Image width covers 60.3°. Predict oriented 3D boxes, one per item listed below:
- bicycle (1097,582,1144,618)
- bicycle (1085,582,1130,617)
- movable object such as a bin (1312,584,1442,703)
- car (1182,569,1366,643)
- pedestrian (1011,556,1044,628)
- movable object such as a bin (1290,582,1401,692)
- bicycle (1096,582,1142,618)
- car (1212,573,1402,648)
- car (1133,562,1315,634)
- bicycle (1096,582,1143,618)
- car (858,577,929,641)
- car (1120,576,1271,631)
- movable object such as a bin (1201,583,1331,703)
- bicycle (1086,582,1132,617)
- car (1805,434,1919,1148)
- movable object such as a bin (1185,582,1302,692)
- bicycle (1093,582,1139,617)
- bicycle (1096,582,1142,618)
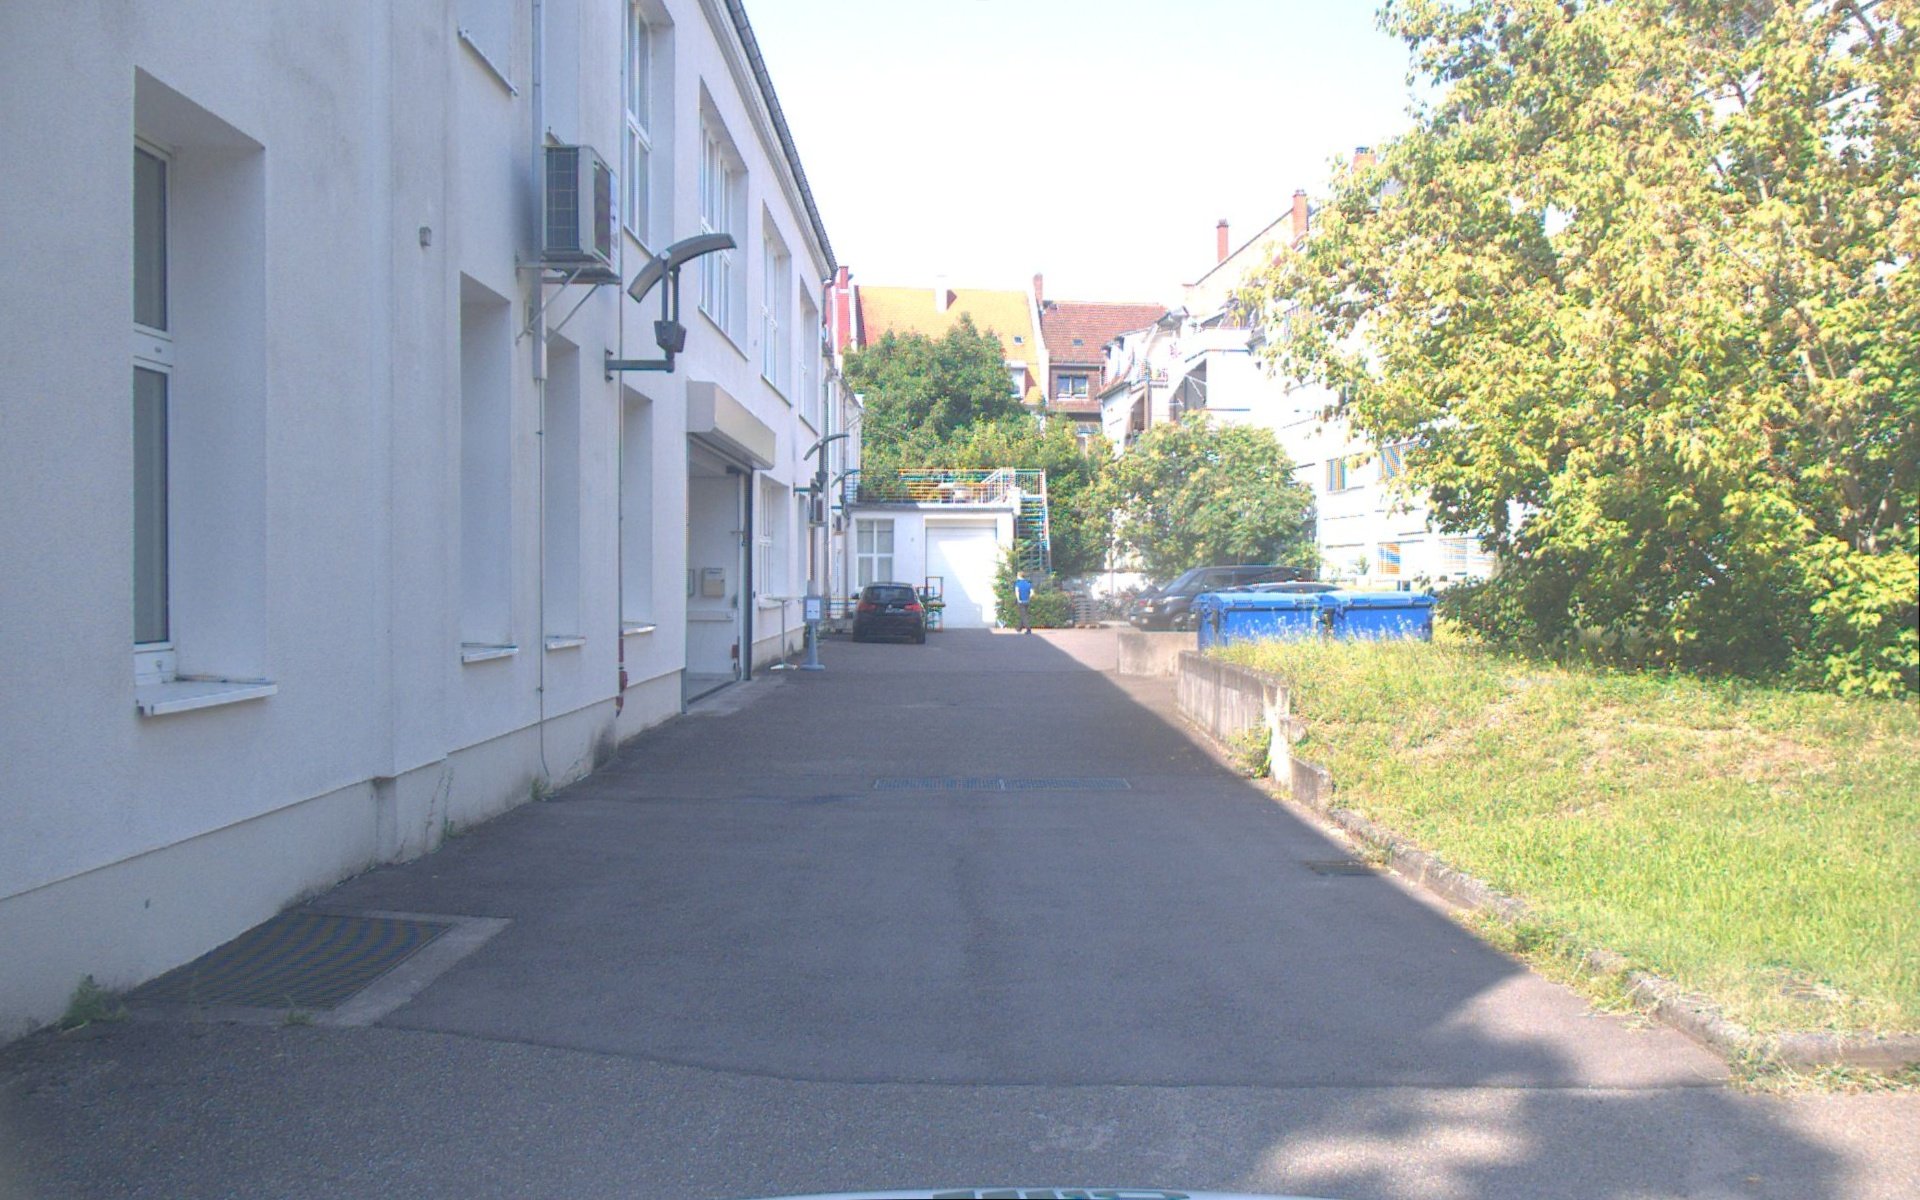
[{"bbox_3d":[5.612,-0.003,57.744,1.589,1.235,0.327,-1,0,1],"label":"bicycle"},{"bbox_3d":[5.426,-0.015,60.765,1.591,1.235,0.423,-1,0,-5],"label":"bicycle"},{"bbox_3d":[4.896,0.498,19.498,1.202,1.364,1.076,0,0,-5],"label":"movable object such as a bin"},{"bbox_3d":[7.488,0.136,39.656,4.035,1.721,1.770,0,0,-3],"label":"car"},{"bbox_3d":[1.915,-0.231,47.151,0.895,2.049,0.935,0,0,0],"label":"pedestrian"},{"bbox_3d":[4.922,0.456,21.216,1.209,1.364,1.117,0,0,3],"label":"movable object such as a bin"},{"bbox_3d":[5.583,-0.004,58.037,1.589,1.235,0.327,-1,0,1],"label":"bicycle"},{"bbox_3d":[7.686,0.229,36.838,3.787,1.616,1.877,0,0,-6],"label":"car"},{"bbox_3d":[6.965,-0.053,43.855,4.418,1.826,1.879,0,0,-10],"label":"car"},{"bbox_3d":[5.548,-0.002,57.422,1.589,1.235,0.327,-1,0,1],"label":"bicycle"},{"bbox_3d":[-1.615,0.198,40.653,1.654,1.484,3.921,0,0,-2],"label":"car"},{"bbox_3d":[6.629,0.097,46.738,3.860,1.508,1.771,0,0,-10],"label":"car"},{"bbox_3d":[3.592,0.490,19.495,1.283,1.364,1.099,0,0,-3],"label":"movable object such as a bin"},{"bbox_3d":[5.352,-0.011,59.528,1.590,1.235,0.424,-1,0,-1],"label":"bicycle"},{"bbox_3d":[5.051,0.557,4.101,4.854,1.954,2.044,1,0,1],"label":"car"},{"bbox_3d":[3.623,0.465,21.248,1.274,1.364,1.194,0,0,-1],"label":"movable object such as a bin"},{"bbox_3d":[5.539,-0.007,58.852,1.588,1.235,0.327,-1,0,13],"label":"bicycle"},{"bbox_3d":[5.616,-0.006,58.488,1.588,1.235,0.327,-1,0,10],"label":"bicycle"}]
